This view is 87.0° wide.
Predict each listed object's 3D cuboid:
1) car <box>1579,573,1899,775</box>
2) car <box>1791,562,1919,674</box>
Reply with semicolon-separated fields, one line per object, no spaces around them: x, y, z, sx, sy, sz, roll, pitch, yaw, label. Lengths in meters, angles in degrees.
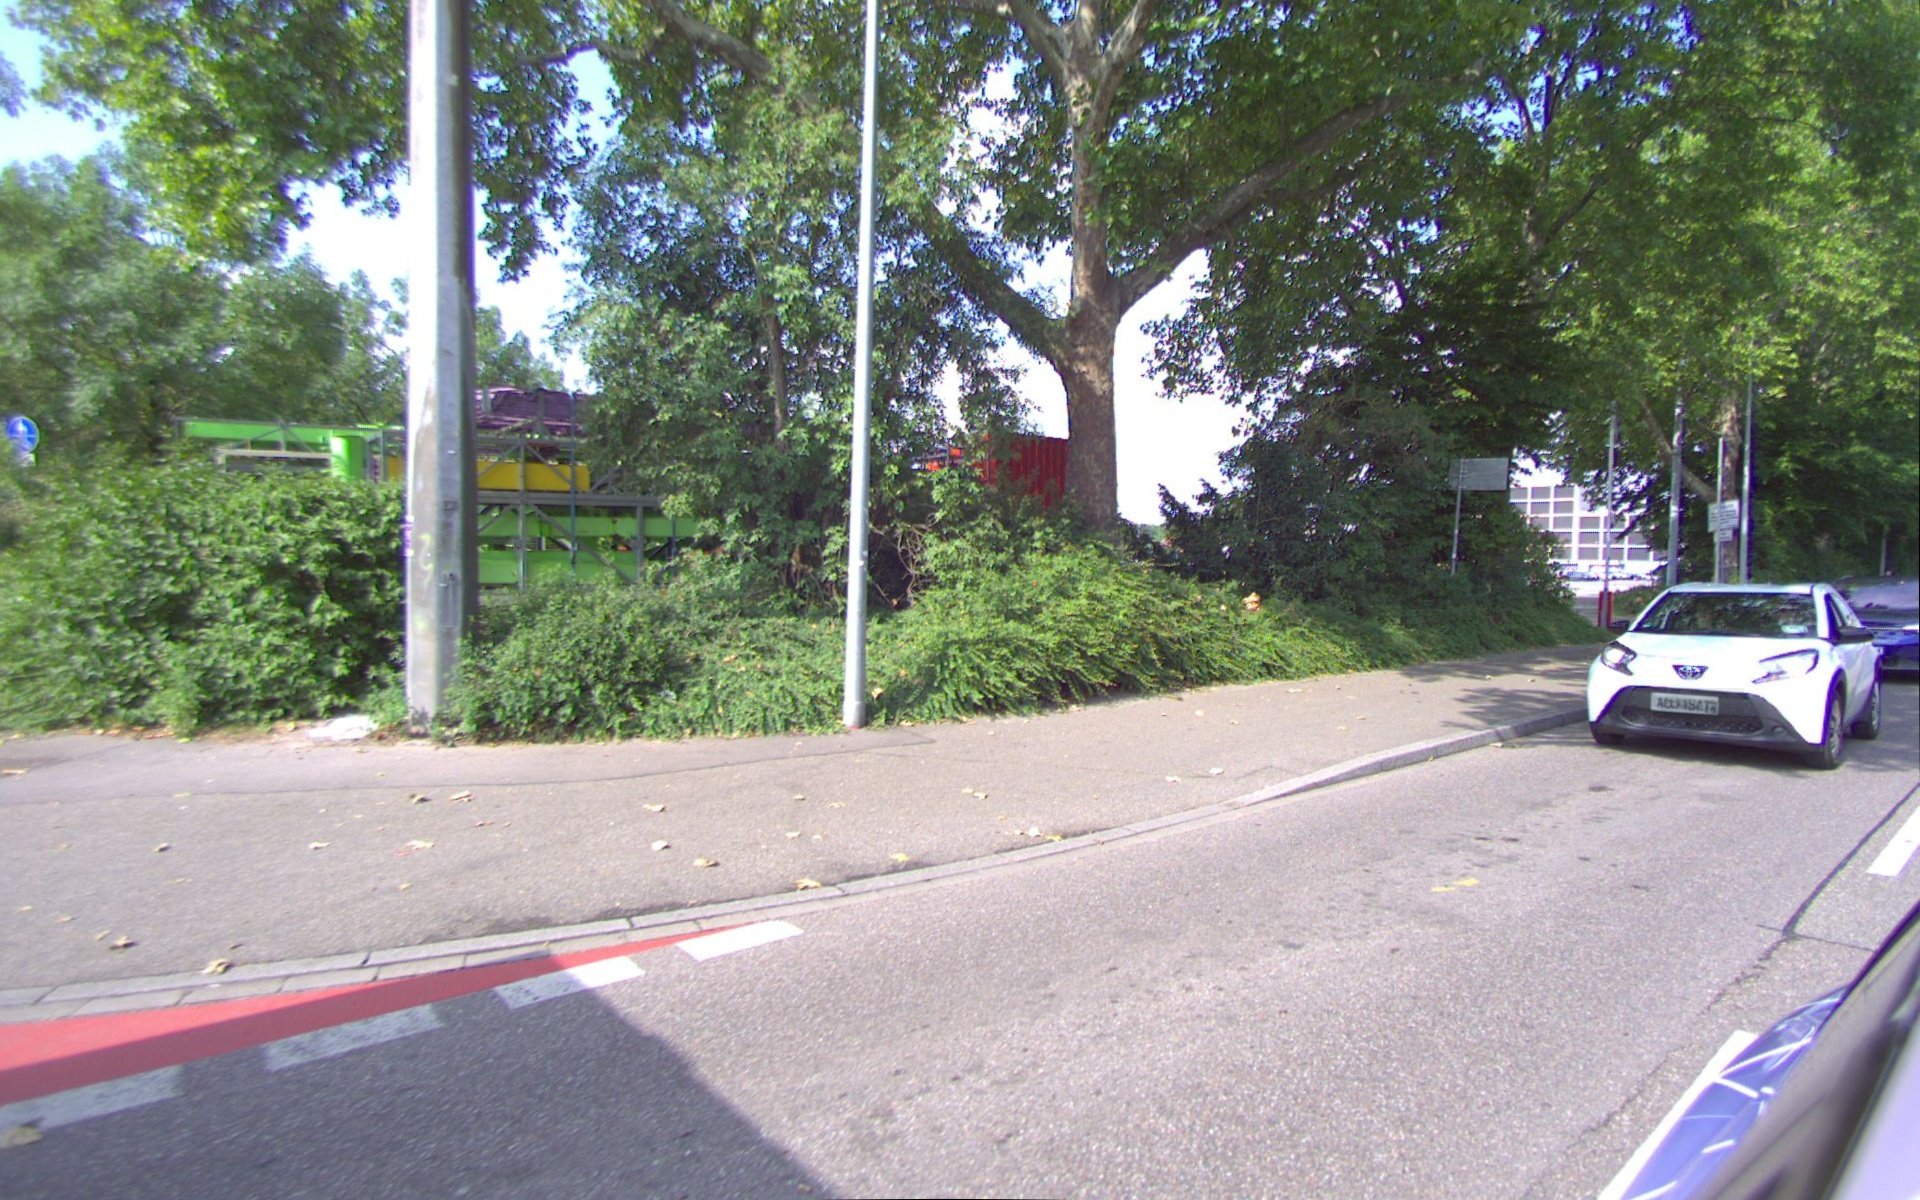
7.351;0.516;9.428;3.734;1.497;1.747;-1;2;-43;car
15.061;0.270;16.255;4.499;1.595;1.890;1;1;-41;car
